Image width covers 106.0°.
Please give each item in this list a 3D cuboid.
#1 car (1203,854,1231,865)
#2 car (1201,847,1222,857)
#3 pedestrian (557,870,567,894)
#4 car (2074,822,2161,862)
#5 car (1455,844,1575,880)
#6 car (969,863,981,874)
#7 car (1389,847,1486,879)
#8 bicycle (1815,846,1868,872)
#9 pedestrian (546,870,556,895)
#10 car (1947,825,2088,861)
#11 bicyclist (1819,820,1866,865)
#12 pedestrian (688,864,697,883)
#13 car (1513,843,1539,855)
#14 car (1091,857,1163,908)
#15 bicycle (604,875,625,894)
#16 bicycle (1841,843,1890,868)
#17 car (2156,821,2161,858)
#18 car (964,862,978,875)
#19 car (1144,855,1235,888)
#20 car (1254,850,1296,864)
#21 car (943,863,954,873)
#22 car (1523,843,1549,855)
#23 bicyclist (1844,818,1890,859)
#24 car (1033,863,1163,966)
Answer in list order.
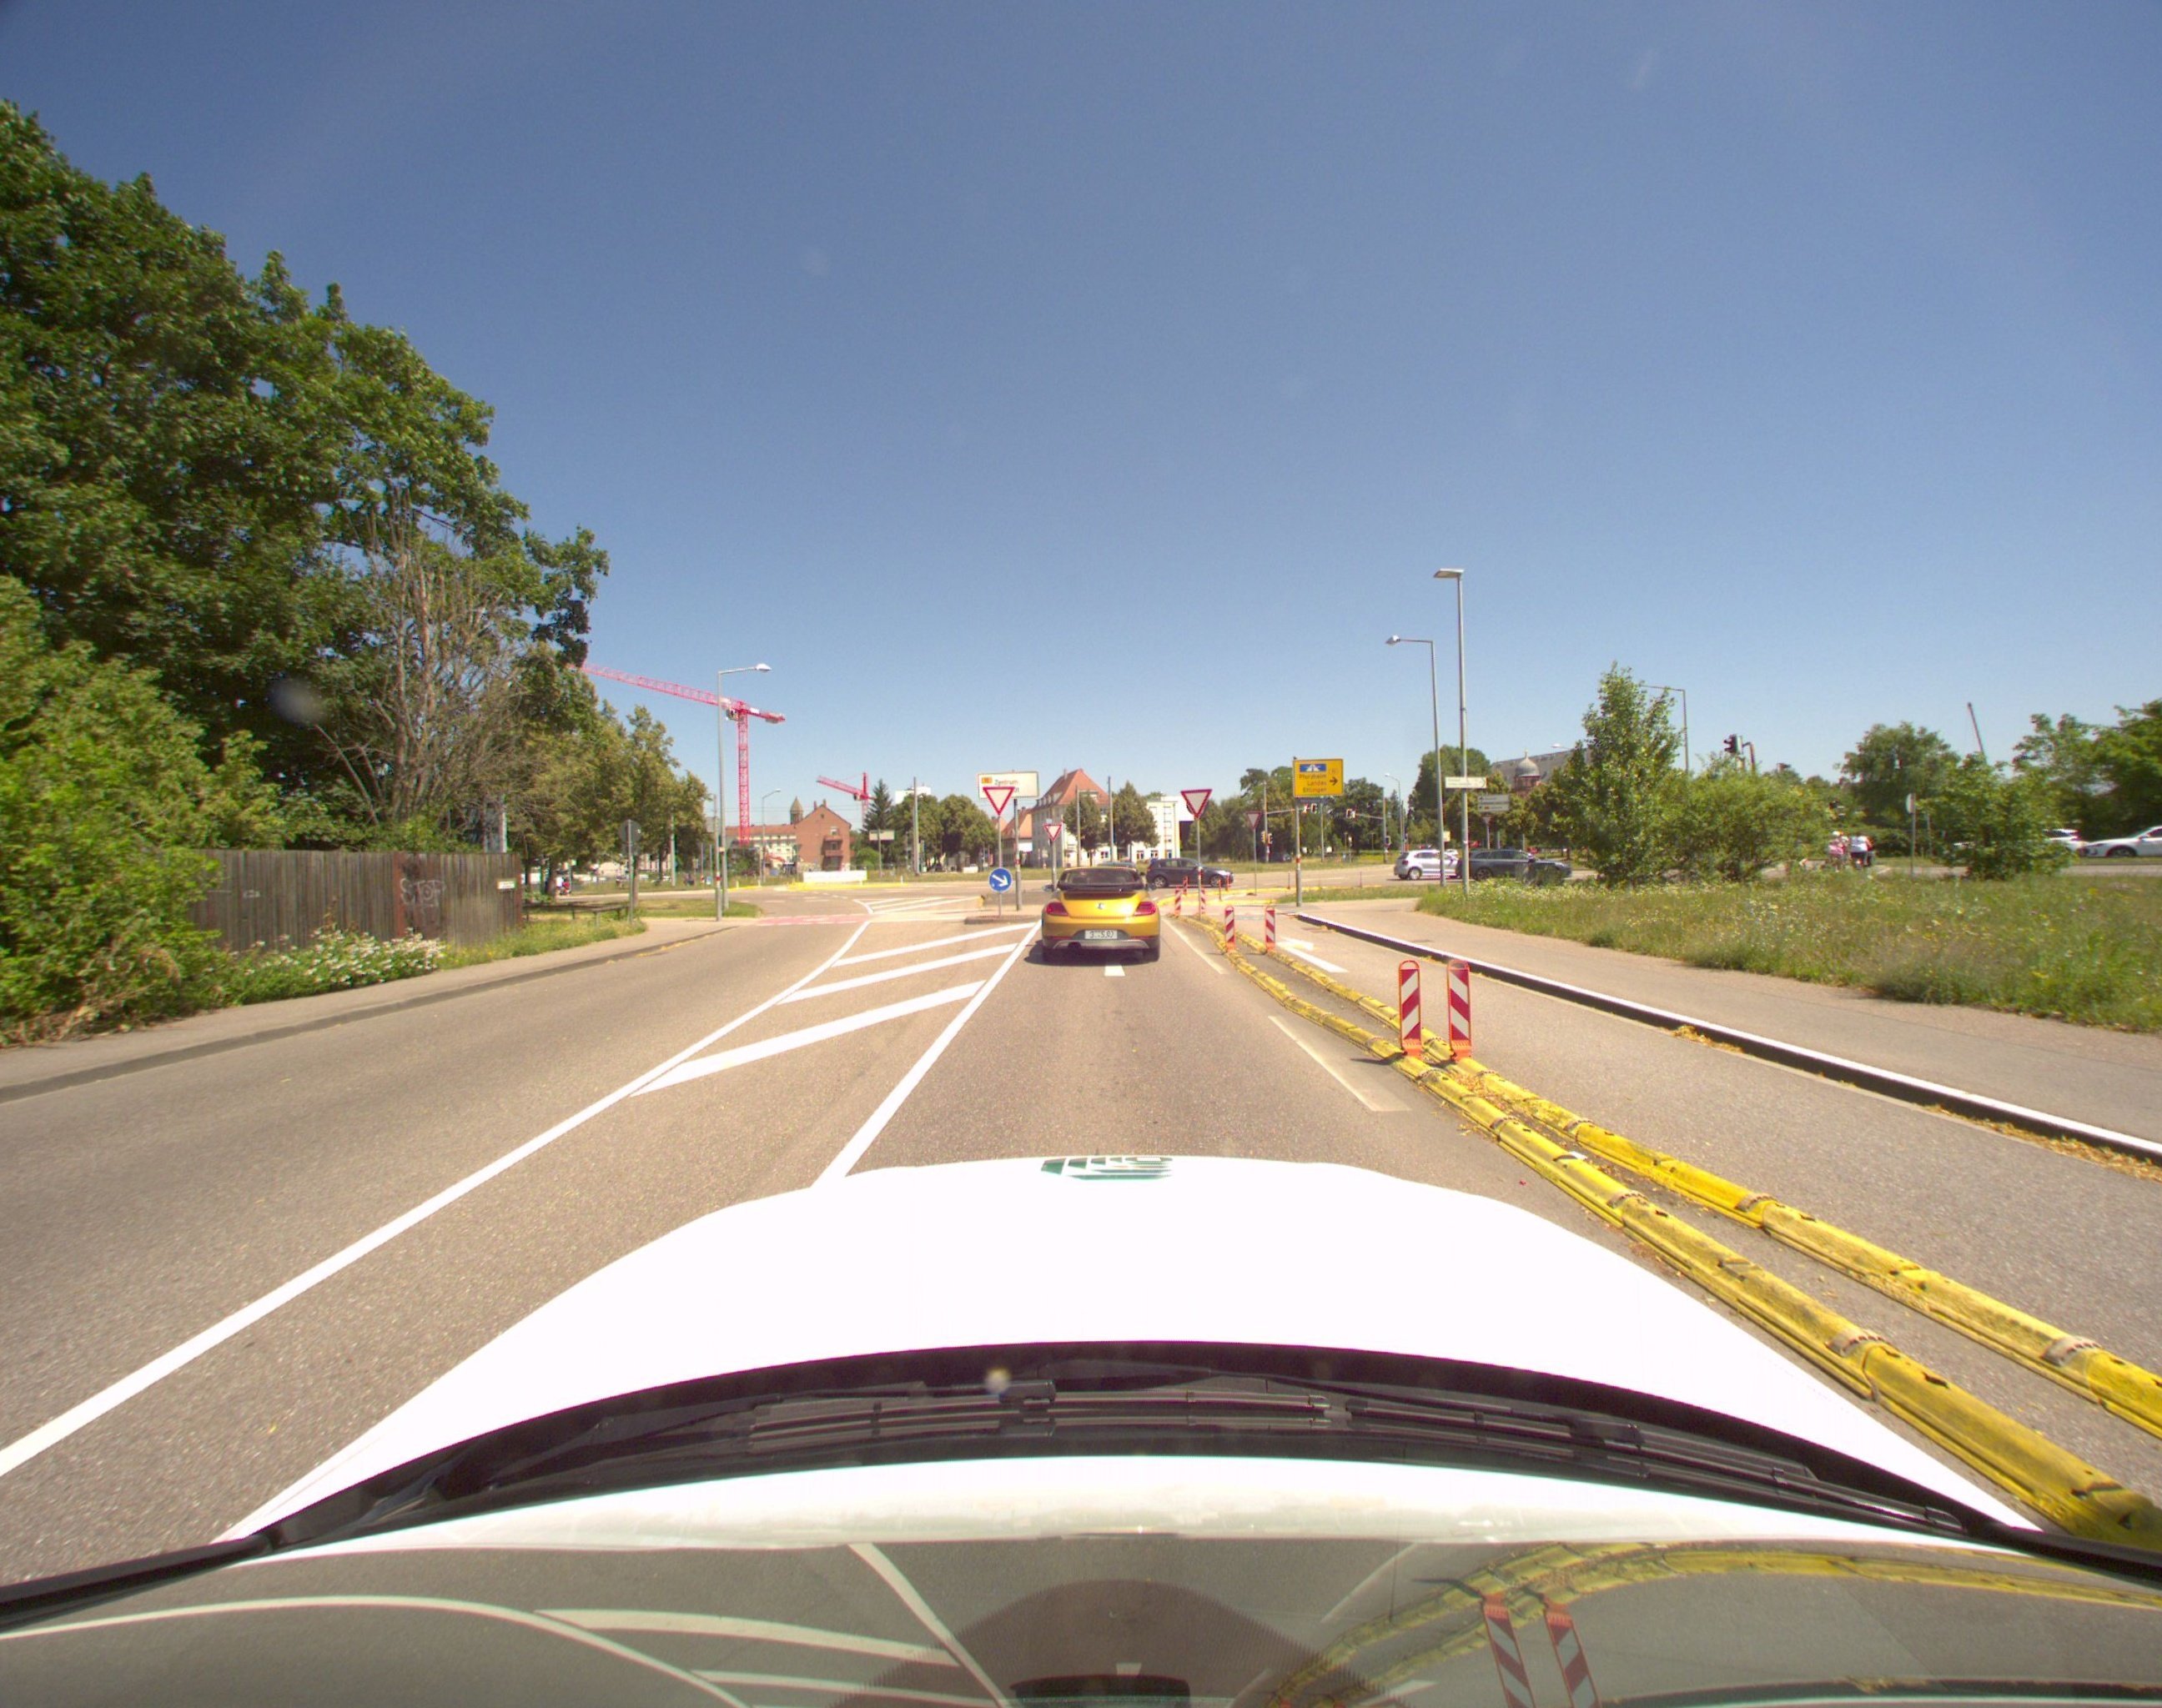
[{"bbox_3d":[21.807,0.939,130.279,3.988,1.684,1.992,0,-1,-11],"label":"car"},{"bbox_3d":[26.831,-0.481,167.025,3.956,2.014,2.009,-1,-1,16],"label":"car"},{"bbox_3d":[-42.719,2.295,67.044,0.631,1.934,0.640,-2,0,-33],"label":"pedestrian"},{"bbox_3d":[46.862,-0.536,35.476,4.352,1.683,1.876,-2,0,44],"label":"car"},{"bbox_3d":[18.969,0.353,35.840,4.404,1.418,2.010,-2,0,19],"label":"car"},{"bbox_3d":[-19.505,2.657,150.303,1.994,2.014,3.985,0,-1,-11],"label":"car"},{"bbox_3d":[17.374,0.436,39.816,3.968,1.422,1.784,-2,0,5],"label":"car"},{"bbox_3d":[27.701,0.181,29.655,2.234,0.900,0.889,0,0,-33],"label":"bicycle"},{"bbox_3d":[-43.143,2.307,66.247,0.631,1.934,0.640,-2,0,-33],"label":"pedestrian"},{"bbox_3d":[45.882,-0.514,40.052,4.352,1.618,1.876,-2,0,44],"label":"car"},{"bbox_3d":[27.745,-0.411,29.671,1.190,1.610,0.950,0,-1,-33],"label":"bicyclist"},{"bbox_3d":[-41.464,2.091,86.911,0.599,2.014,0.595,0,-1,1],"label":"pedestrian"},{"bbox_3d":[82.682,-0.908,151.314,3.949,2.014,2.012,-1,-1,41],"label":"car"},{"bbox_3d":[1.575,0.868,26.568,1.785,1.440,4.013,-1,1,11],"label":"car"},{"bbox_3d":[-42.475,2.786,74.184,0.555,1.685,2.090,0,-1,7],"label":"bicycle"},{"bbox_3d":[31.202,0.067,32.379,1.766,0.900,0.891,-3,2,-27],"label":"bicycle"},{"bbox_3d":[50.997,-0.720,35.715,4.352,1.683,1.876,-2,0,44],"label":"car"},{"bbox_3d":[-16.981,2.271,125.327,1.994,2.014,3.985,0,-1,-11],"label":"car"},{"bbox_3d":[5.174,0.824,38.625,4.037,1.403,1.761,-2,0,15],"label":"car"},{"bbox_3d":[20.970,0.354,88.080,2.011,1.464,3.951,1,-1,-44],"label":"car"},{"bbox_3d":[-27.042,2.946,166.181,1.994,2.014,3.985,0,-1,-11],"label":"car"},{"bbox_3d":[85.210,-0.905,152.556,3.949,2.014,2.012,-1,-1,41],"label":"car"},{"bbox_3d":[31.276,-0.612,32.420,1.189,1.531,0.951,-3,0,-28],"label":"bicyclist"},{"bbox_3d":[0.299,0.878,13.337,1.819,1.403,3.663,-1,0,2],"label":"car"}]
